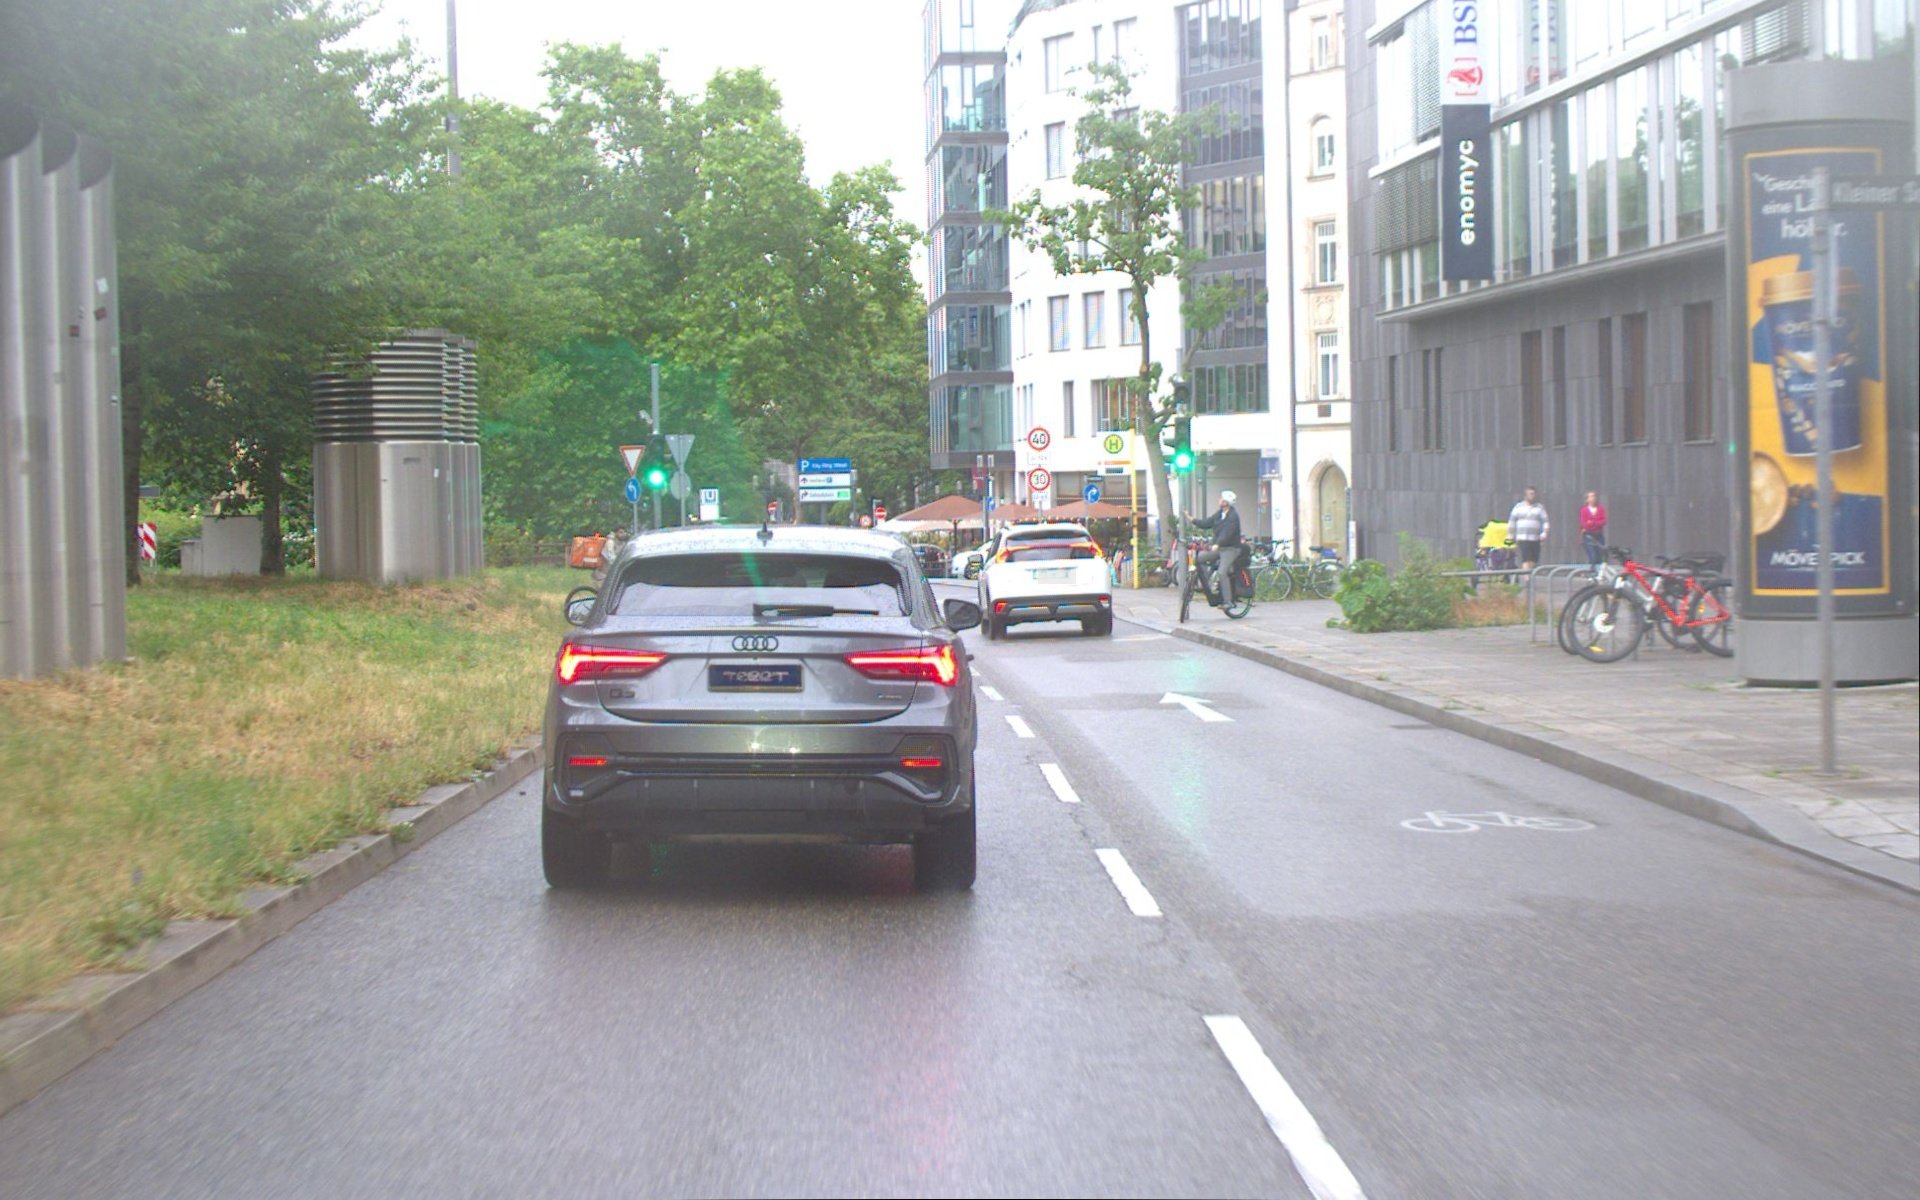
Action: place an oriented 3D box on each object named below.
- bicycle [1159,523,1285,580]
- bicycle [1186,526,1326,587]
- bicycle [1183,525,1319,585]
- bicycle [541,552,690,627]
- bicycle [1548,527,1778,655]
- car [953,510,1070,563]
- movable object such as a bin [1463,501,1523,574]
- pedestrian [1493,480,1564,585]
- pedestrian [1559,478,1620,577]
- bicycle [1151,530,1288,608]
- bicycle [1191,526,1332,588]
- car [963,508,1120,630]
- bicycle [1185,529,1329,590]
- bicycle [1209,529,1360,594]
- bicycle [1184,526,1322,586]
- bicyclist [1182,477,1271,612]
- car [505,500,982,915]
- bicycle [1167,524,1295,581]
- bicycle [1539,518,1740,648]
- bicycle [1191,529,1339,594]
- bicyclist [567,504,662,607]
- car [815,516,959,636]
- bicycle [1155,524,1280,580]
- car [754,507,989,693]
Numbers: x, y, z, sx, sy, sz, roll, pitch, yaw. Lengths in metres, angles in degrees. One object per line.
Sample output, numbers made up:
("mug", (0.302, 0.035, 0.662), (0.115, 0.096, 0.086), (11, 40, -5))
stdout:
("bicycle", (5.476, -1.015, 71.877), (2.535, 1.083, 0.677), (-2, 1, -3))
("bicycle", (5.631, -0.831, 65.443), (2.535, 1.083, 0.677), (-2, 1, -3))
("bicycle", (5.682, -0.882, 67.218), (2.535, 1.083, 0.677), (-2, 1, -3))
("bicycle", (-5.395, -0.167, 53.847), (2.063, 1.110, 1.011), (2, 1, 20))
("bicycle", (6.557, -0.094, 32.133), (1.984, 1.100, 0.808), (-2, 1, 4))
("car", (1.799, -2.241, 120.357), (3.987, 1.641, 2.000), (3, 1, 0))
("movable object such as a bin", (9.633, -1.141, 62.155), (0.731, 1.259, 1.445), (-4, 1, -2))
("pedestrian", (10.049, -1.189, 60.811), (0.900, 1.785, 1.047), (-4, 1, -4))
("pedestrian", (11.140, -1.281, 60.865), (0.718, 1.684, 1.100), (-4, 1, -4))
("bicycle", (4.082, -0.494, 53.919), (2.126, 1.141, 0.763), (-3, 1, -37))
("bicycle", (5.676, -0.813, 64.704), (2.535, 1.083, 0.677), (-2, 1, -3))
("car", (1.168, -0.491, 51.032), (2.179, 1.695, 4.000), (-1, 1, 0))
("bicycle", (5.403, -0.744, 62.558), (2.535, 1.083, 0.677), (0, 1, -4))
("bicycle", (5.687, -0.678, 60.271), (2.535, 1.053, 0.677), (-2, 1, -4))
("bicycle", (5.645, -0.847, 66.310), (2.535, 1.056, 0.677), (-2, 1, -3))
("bicyclist", (4.185, -0.874, 54.003), (1.082, 2.076, 0.763), (-2, 1, -37))
("car", (-0.840, 0.365, 15.704), (1.848, 1.610, 4.253), (-1, 2, 1))
("bicycle", (5.592, -0.989, 70.986), (2.535, 1.083, 0.677), (-2, 1, -3))
("bicycle", (6.708, -0.172, 33.983), (1.836, 1.193, 0.660), (-2, 1, 4))
("bicycle", (5.474, -0.689, 61.753), (2.535, 1.083, 0.677), (-2, 1, -4))
("bicyclist", (-5.408, -0.705, 53.851), (1.133, 1.577, 1.014), (1, 1, 20))
("car", (-1.009, -0.384, 49.891), (1.945, 1.641, 4.245), (-1, 1, 0))
("bicycle", (5.438, -1.017, 72.597), (2.535, 1.083, 0.677), (-2, 1, -3))
("car", (-0.935, -0.055, 34.406), (2.162, 1.700, 4.554), (-1, 1, -3))
